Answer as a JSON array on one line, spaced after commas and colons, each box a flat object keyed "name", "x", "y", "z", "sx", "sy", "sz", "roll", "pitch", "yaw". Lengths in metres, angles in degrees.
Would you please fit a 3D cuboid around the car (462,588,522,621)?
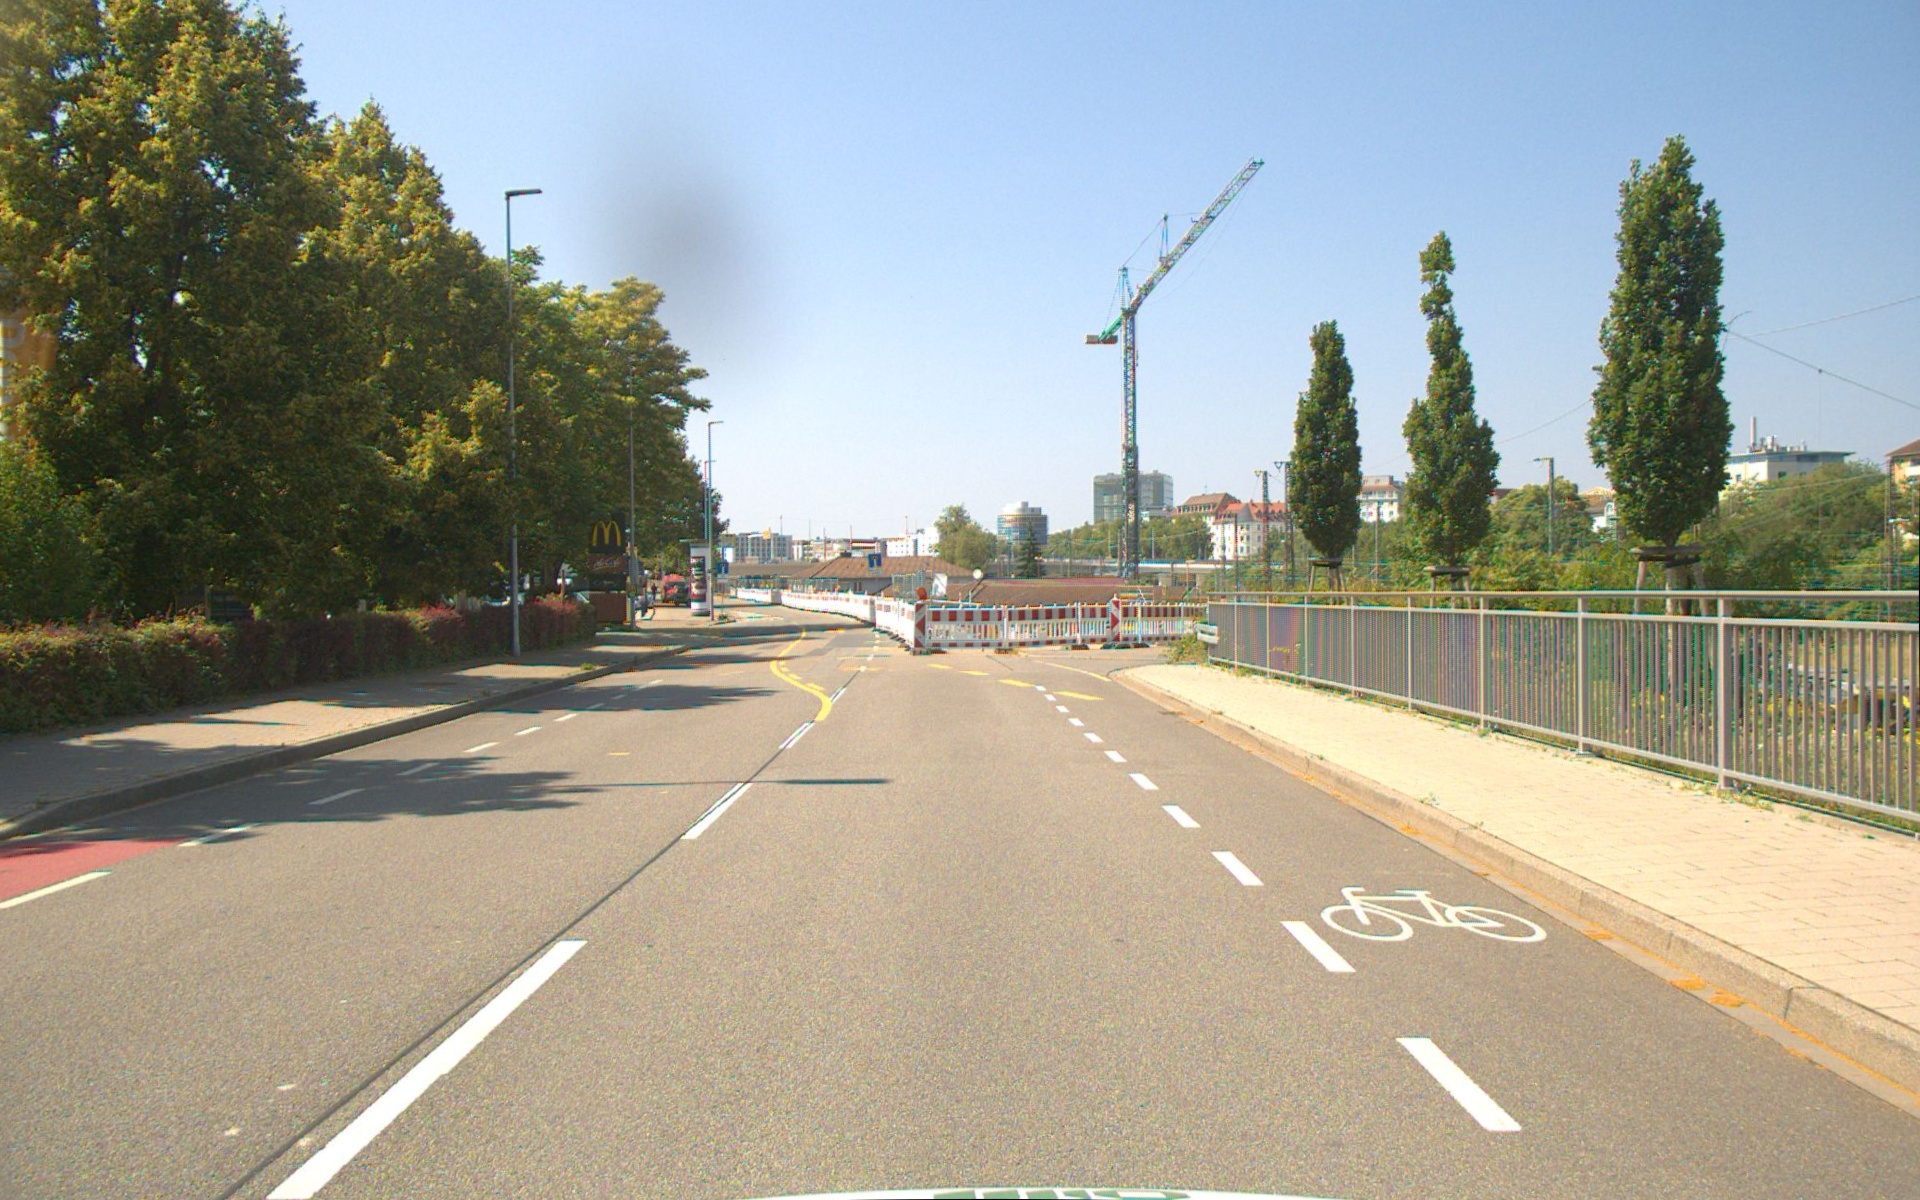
[{"name": "car", "x": -28.162, "y": 0.250, "z": 99.472, "sx": 1.983, "sy": 1.937, "sz": 3.938, "roll": -1, "pitch": 0, "yaw": -42}]
